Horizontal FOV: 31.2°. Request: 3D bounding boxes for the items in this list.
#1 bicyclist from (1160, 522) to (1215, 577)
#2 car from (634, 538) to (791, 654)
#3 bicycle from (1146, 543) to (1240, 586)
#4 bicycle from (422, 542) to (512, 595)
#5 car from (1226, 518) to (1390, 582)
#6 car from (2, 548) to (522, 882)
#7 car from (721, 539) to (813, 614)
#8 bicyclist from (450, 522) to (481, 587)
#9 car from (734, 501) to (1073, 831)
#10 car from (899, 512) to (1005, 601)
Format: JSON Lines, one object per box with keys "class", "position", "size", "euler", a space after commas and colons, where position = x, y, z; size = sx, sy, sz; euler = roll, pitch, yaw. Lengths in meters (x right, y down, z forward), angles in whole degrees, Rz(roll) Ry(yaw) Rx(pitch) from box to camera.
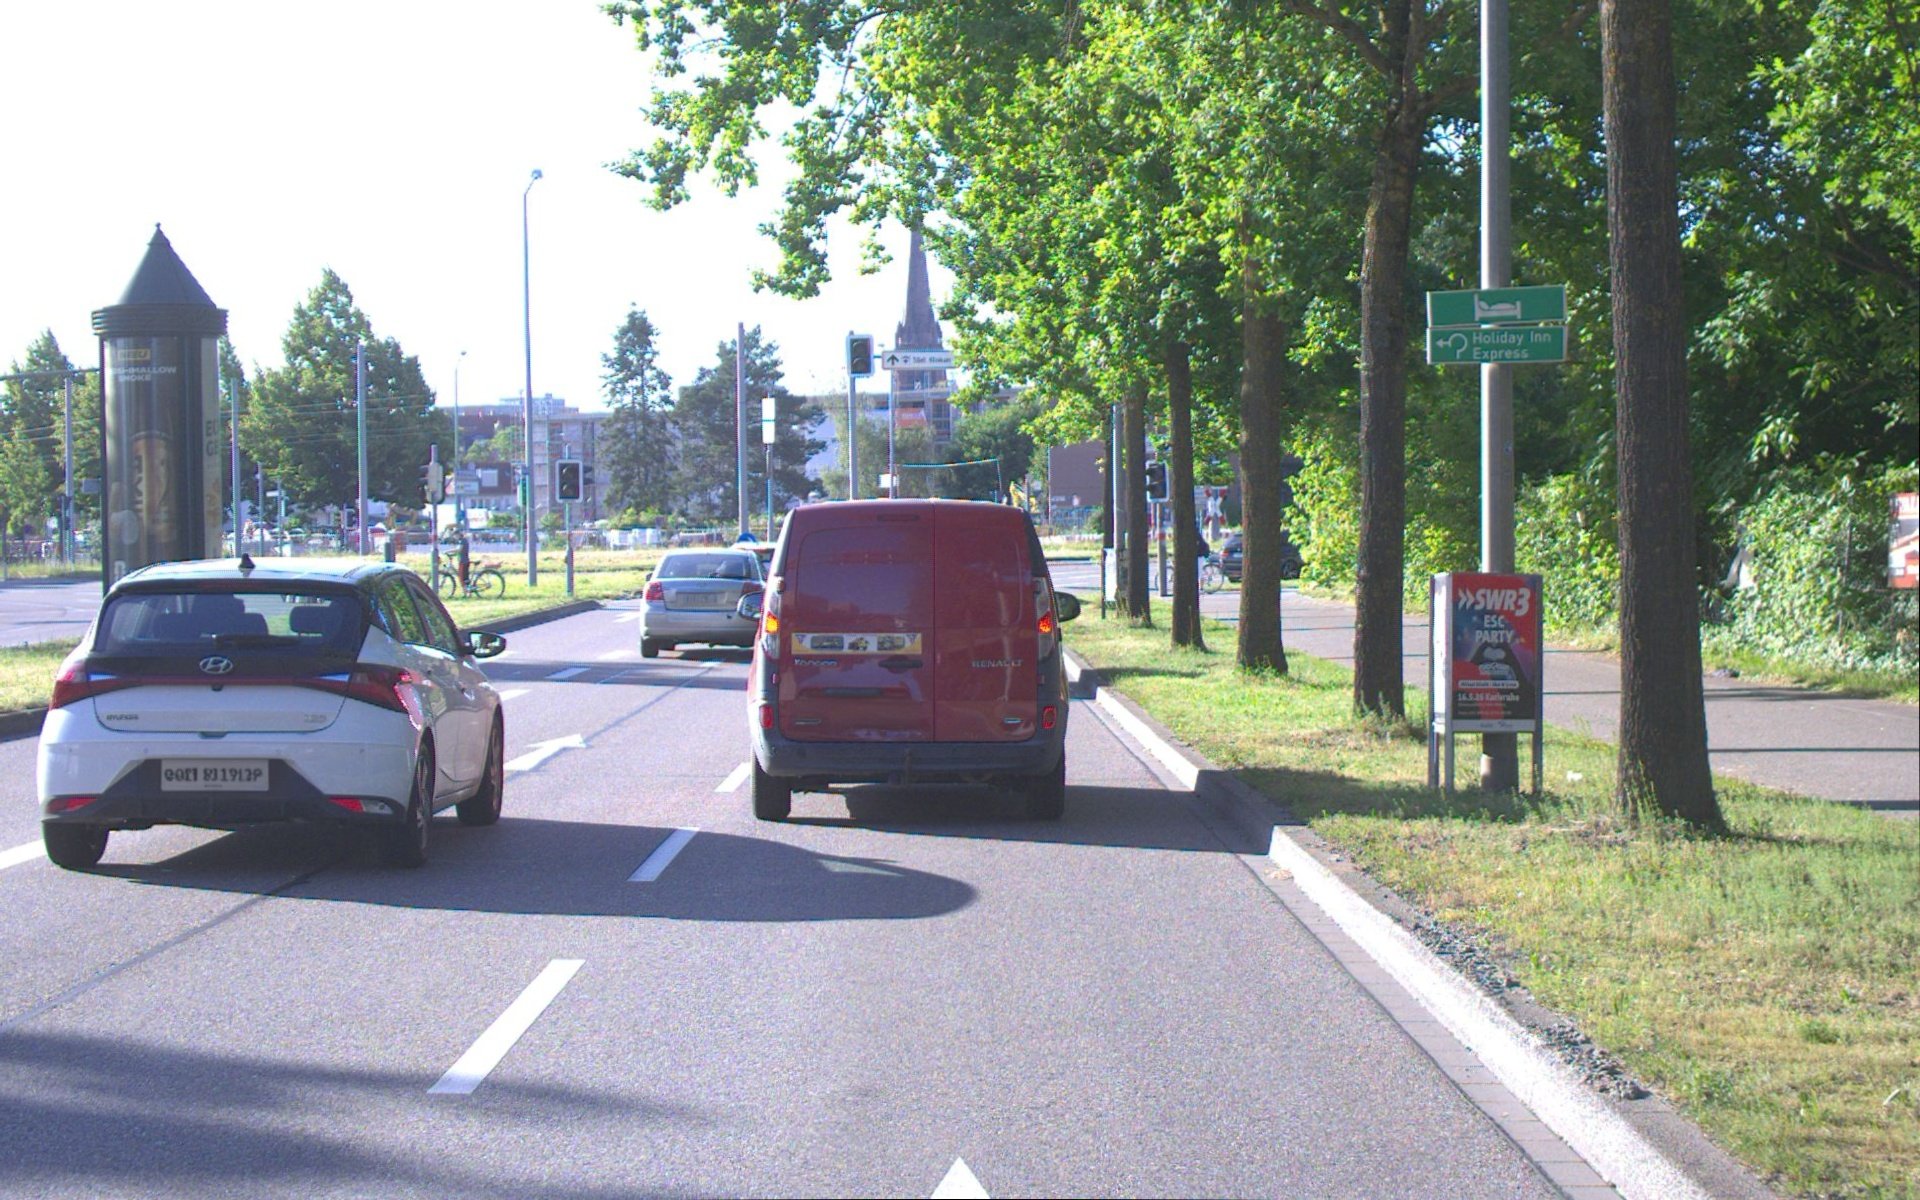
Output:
{"class": "bicyclist", "position": [5.303, -1.173, 80.076], "size": [0.968, 1.245, 0.789], "euler": [-2, 1, -32]}
{"class": "car", "position": [-3.339, -0.087, 47.013], "size": [1.841, 1.451, 4.163], "euler": [0, 2, 0]}
{"class": "bicycle", "position": [5.436, -0.824, 80.150], "size": [2.119, 0.954, 0.789], "euler": [-2, 1, -32]}
{"class": "bicycle", "position": [-11.134, -0.715, 77.657], "size": [1.958, 1.162, 0.517], "euler": [-1, 1, -1]}
{"class": "car", "position": [8.938, -1.282, 88.259], "size": [3.913, 1.619, 1.777], "euler": [0, 1, -32]}
{"class": "car", "position": [-3.357, 0.483, 17.304], "size": [1.778, 1.404, 4.075], "euler": [0, 2, 0]}
{"class": "car", "position": [-3.827, -0.490, 68.633], "size": [1.661, 1.393, 3.559], "euler": [-1, 2, -1]}
{"class": "bicyclist", "position": [-11.158, -1.031, 77.649], "size": [0.603, 1.463, 0.517], "euler": [-1, 1, -1]}
{"class": "car", "position": [-0.323, 0.297, 20.392], "size": [1.806, 1.753, 4.006], "euler": [0, 2, -1]}
{"class": "car", "position": [-0.143, -0.916, 70.541], "size": [1.660, 1.756, 3.497], "euler": [-1, 1, 8]}
